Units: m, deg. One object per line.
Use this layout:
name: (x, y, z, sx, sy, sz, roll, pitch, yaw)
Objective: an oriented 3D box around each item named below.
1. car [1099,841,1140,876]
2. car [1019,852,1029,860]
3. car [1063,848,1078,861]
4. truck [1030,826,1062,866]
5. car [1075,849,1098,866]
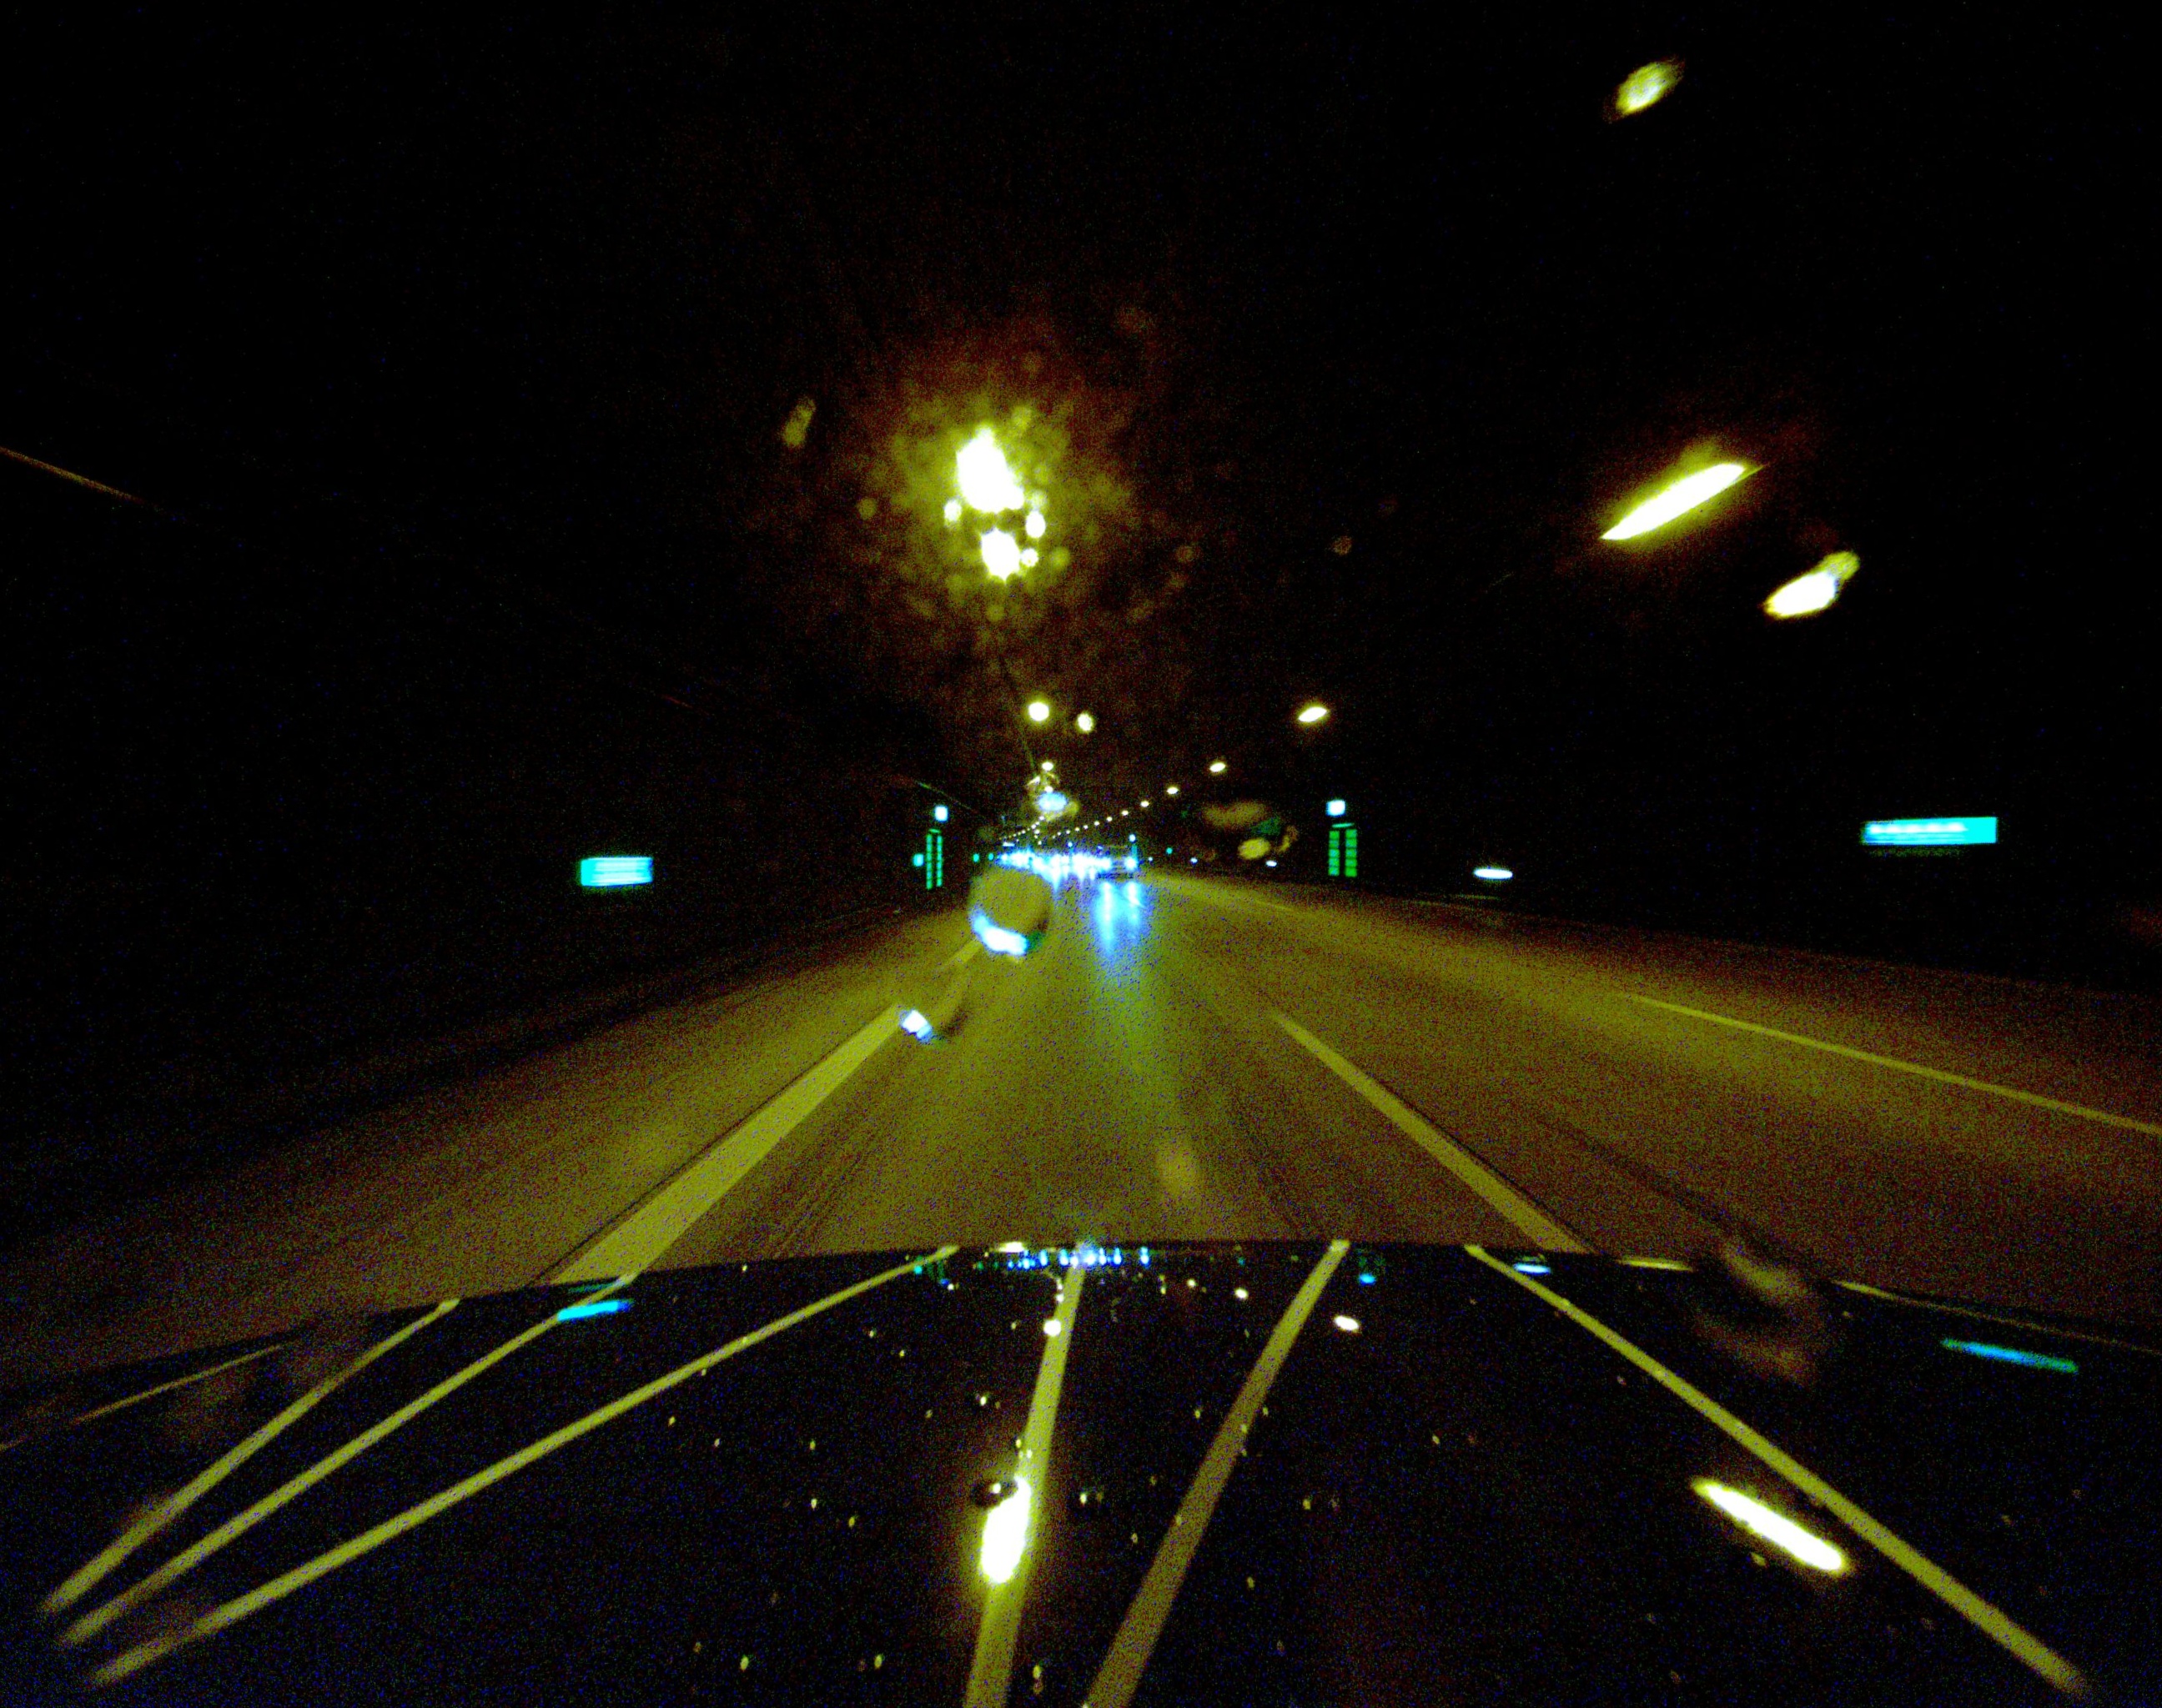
car: (2.303, 0.322, 46.646, 1.999, 2.001, 4.360, -2, -1, -4)
car: (-12.912, 0.382, 172.414, 2.000, 1.729, 3.997, -2, 0, -9)
car: (-1.383, 0.053, 96.519, 1.759, 1.567, 3.999, -2, 0, -3)
truck: (-3.900, -0.868, 83.691, 3.143, 4.136, 7.384, -2, 1, -3)
car: (0.499, 0.303, 76.982, 1.911, 1.637, 3.998, -2, 0, -5)
